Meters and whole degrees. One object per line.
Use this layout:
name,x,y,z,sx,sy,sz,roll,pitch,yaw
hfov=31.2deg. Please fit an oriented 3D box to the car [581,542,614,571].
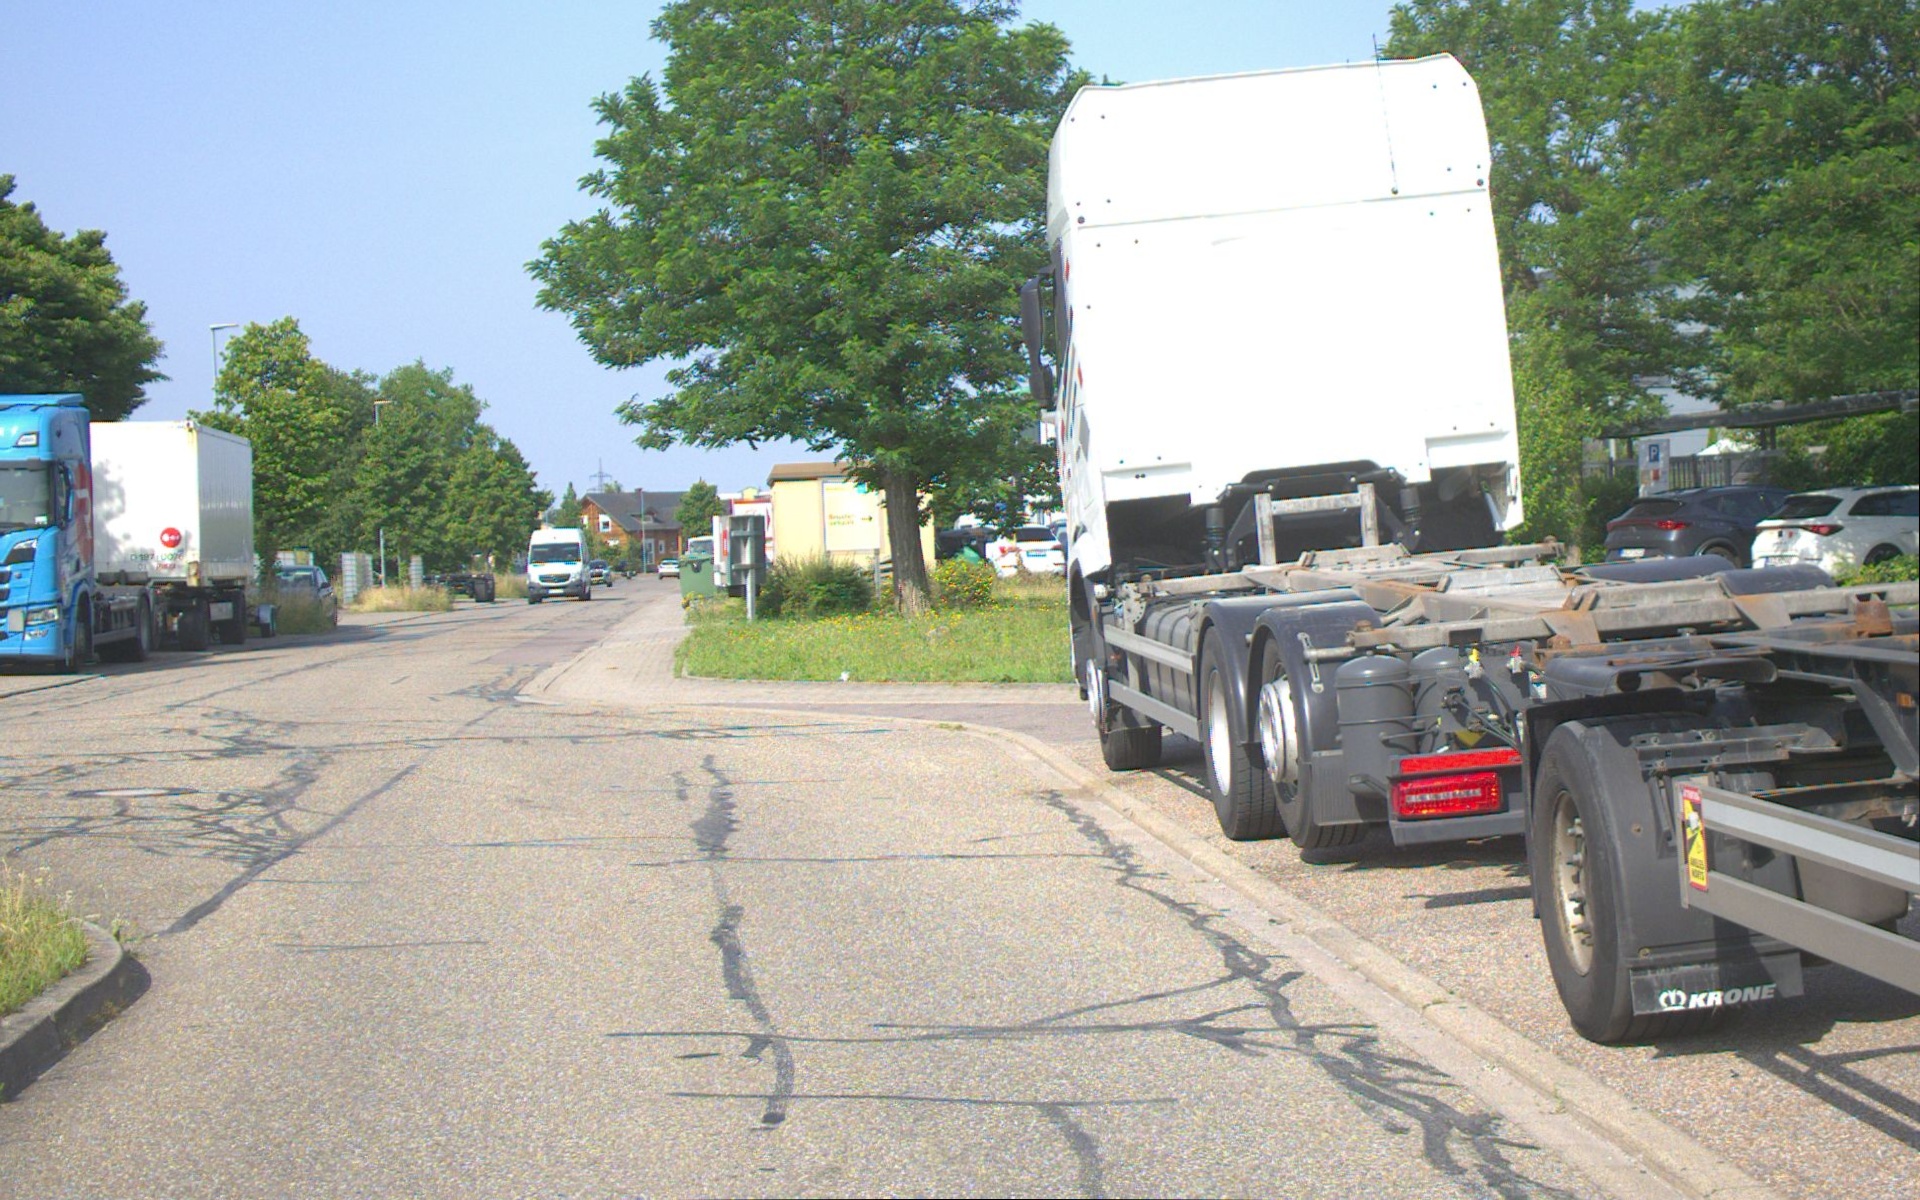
car,-21.349,-2.563,202.389,1.639,1.656,4.001,0,0,-10

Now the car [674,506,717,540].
car,-14.885,-4.297,193.255,1.770,1.809,4.001,0,0,-14

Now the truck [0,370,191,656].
truck,-13.499,-1.162,50.619,2.825,3.812,9.674,0,0,-4

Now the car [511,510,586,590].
car,-14.389,-1.695,119.949,2.214,2.677,6.855,0,0,-10

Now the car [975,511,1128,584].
car,1.715,-0.982,65.413,1.667,1.325,3.664,-1,0,-20

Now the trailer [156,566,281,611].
trailer,-14.659,-0.247,68.159,1.896,0.758,4.001,-2,1,-5

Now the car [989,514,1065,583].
car,1.610,-1.240,83.464,1.717,1.612,4.000,0,0,-1

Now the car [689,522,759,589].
car,-6.358,-1.169,92.377,1.792,1.744,4.001,0,0,-5

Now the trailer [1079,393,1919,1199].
trailer,2.622,0.229,11.490,2.745,1.568,16.174,-5,1,-4

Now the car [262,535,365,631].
car,-14.427,-0.404,76.571,1.993,2.007,4.001,-2,1,-14

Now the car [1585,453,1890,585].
car,10.951,-1.115,48.342,3.987,1.761,2.000,-1,0,-35

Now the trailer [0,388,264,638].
trailer,-14.140,-1.355,58.898,2.831,3.830,12.038,0,0,-4

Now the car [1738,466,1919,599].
car,12.497,-0.880,45.427,4.073,1.695,1.765,-1,0,-25

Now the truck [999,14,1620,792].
truck,1.914,-1.103,20.505,2.745,3.968,4.001,-5,1,-4
